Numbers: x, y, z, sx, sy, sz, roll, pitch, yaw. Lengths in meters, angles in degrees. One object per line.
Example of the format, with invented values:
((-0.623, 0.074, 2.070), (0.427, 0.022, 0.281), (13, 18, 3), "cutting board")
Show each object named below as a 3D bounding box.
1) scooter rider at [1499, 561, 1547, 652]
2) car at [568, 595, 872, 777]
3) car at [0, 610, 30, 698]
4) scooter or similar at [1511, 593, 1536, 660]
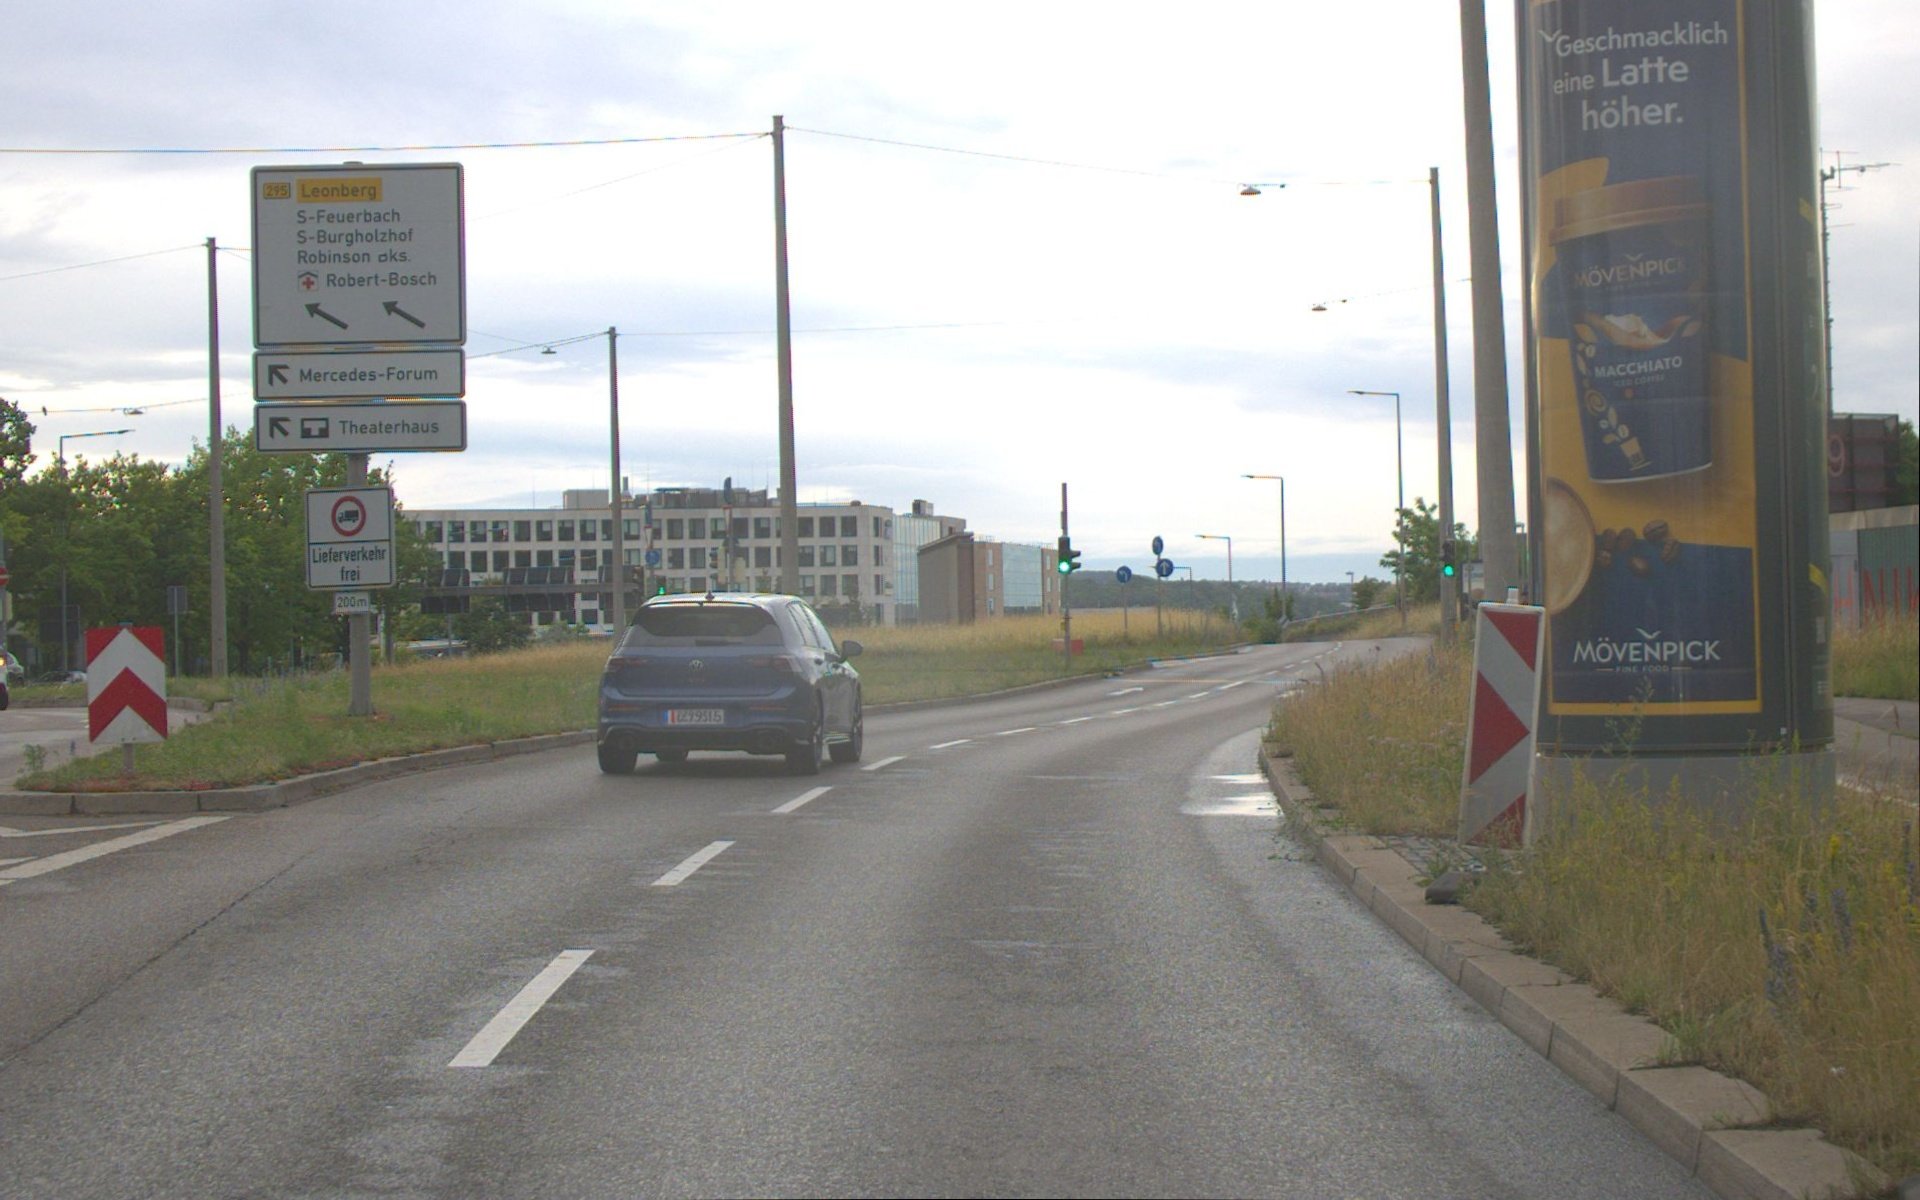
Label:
((10.334, 0.119, 63.082), (0.806, 1.623, 0.828), (-2, 0, 9), "scooter rider")
((-1.907, 0.670, 28.510), (1.838, 1.389, 3.999), (0, 0, 6), "car")
((-19.379, 1.081, 66.419), (1.919, 1.638, 4.391), (0, -2, -26), "car")
((10.303, 0.481, 62.852), (0.401, 1.192, 1.113), (2, 0, 9), "scooter or similar")
